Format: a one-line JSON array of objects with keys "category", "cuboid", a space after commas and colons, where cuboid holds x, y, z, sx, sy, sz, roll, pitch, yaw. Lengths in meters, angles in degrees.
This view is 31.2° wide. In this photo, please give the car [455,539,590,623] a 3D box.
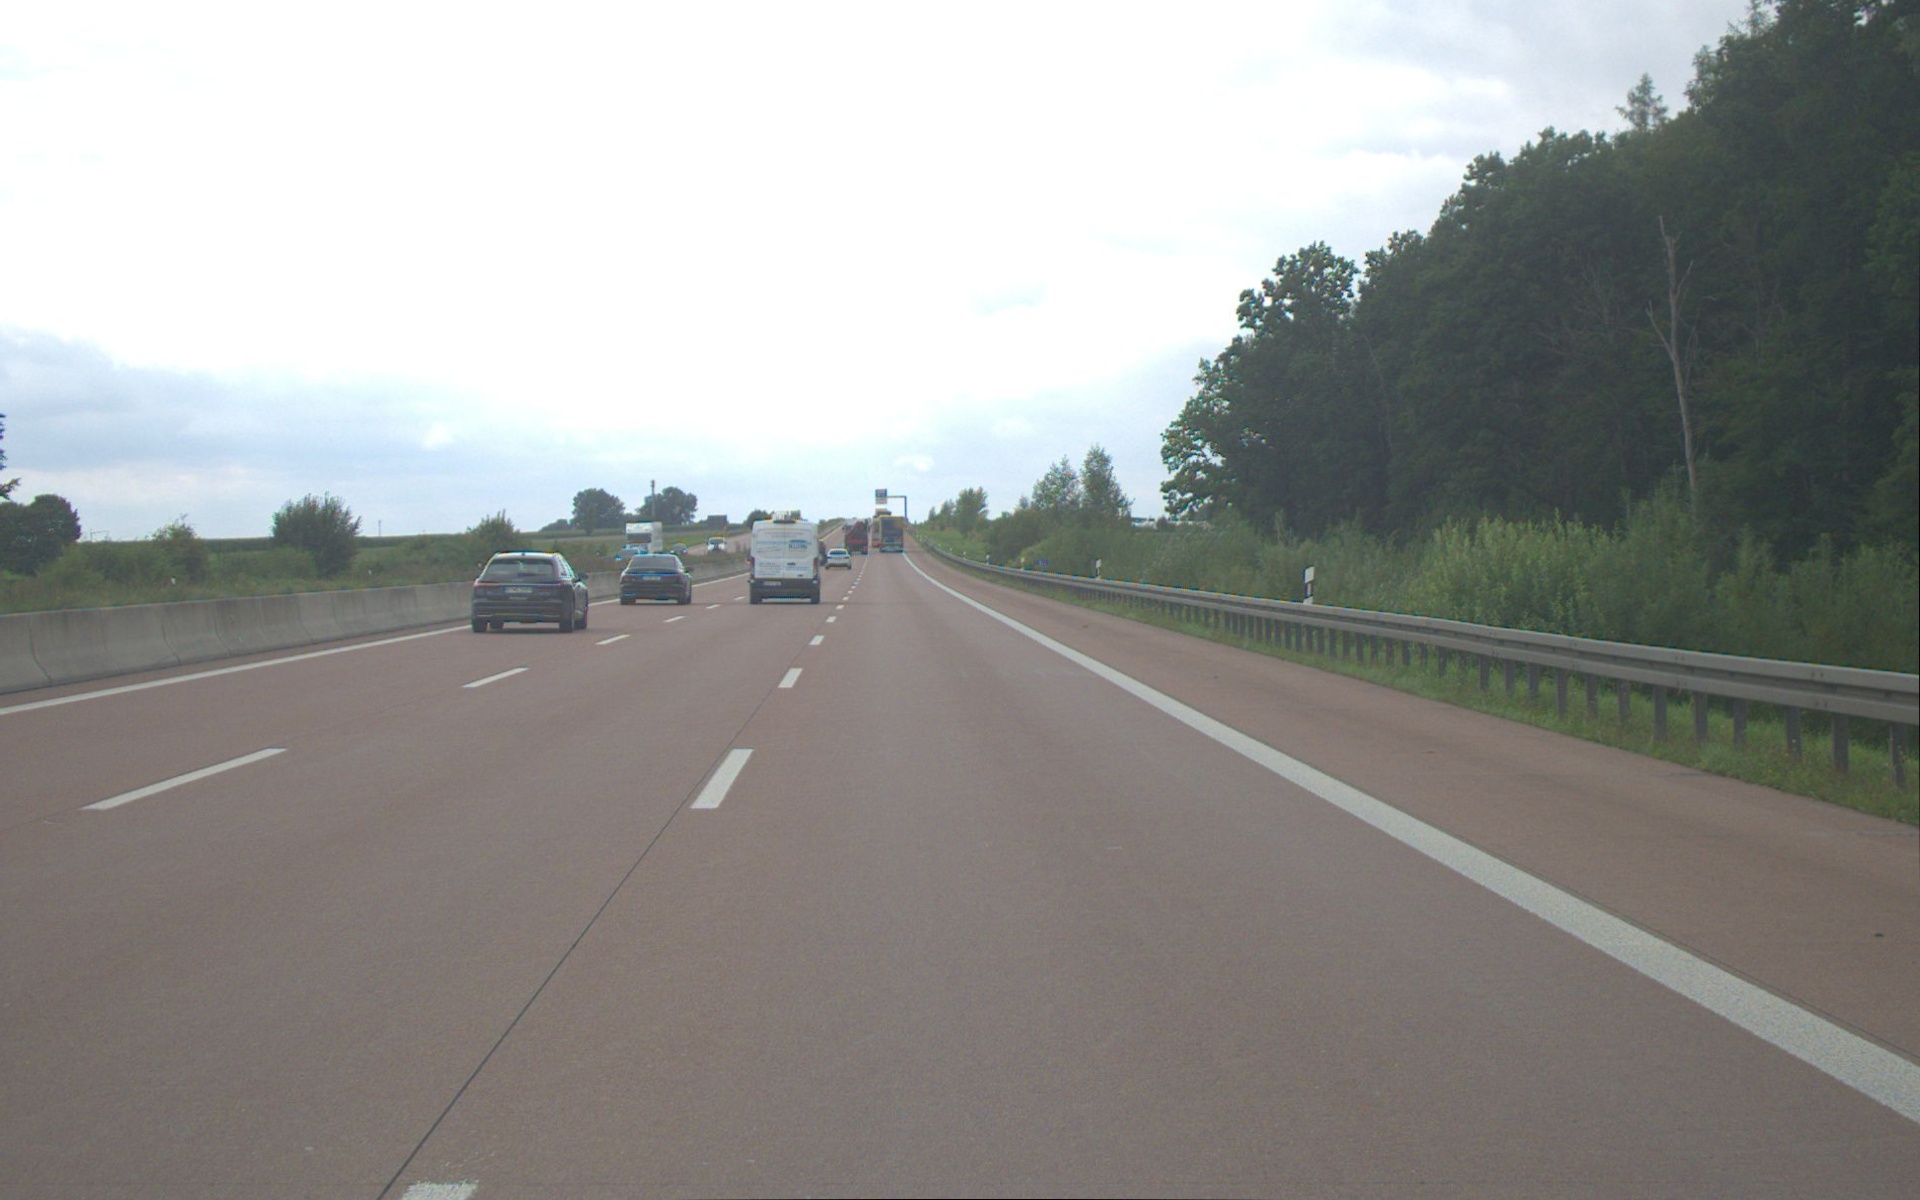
[{"category": "car", "cuboid": [-8.207, -0.397, 64.966, 2.059, 1.486, 5.454, 0, 1, -2]}]

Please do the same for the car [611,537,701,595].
[{"category": "car", "cuboid": [-8.727, -0.999, 99.073, 2.085, 1.545, 5.674, 1, 1, 0]}]

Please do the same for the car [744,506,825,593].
[{"category": "car", "cuboid": [-5.183, -1.540, 102.290, 2.137, 2.498, 7.132, 0, 2, -1]}]
